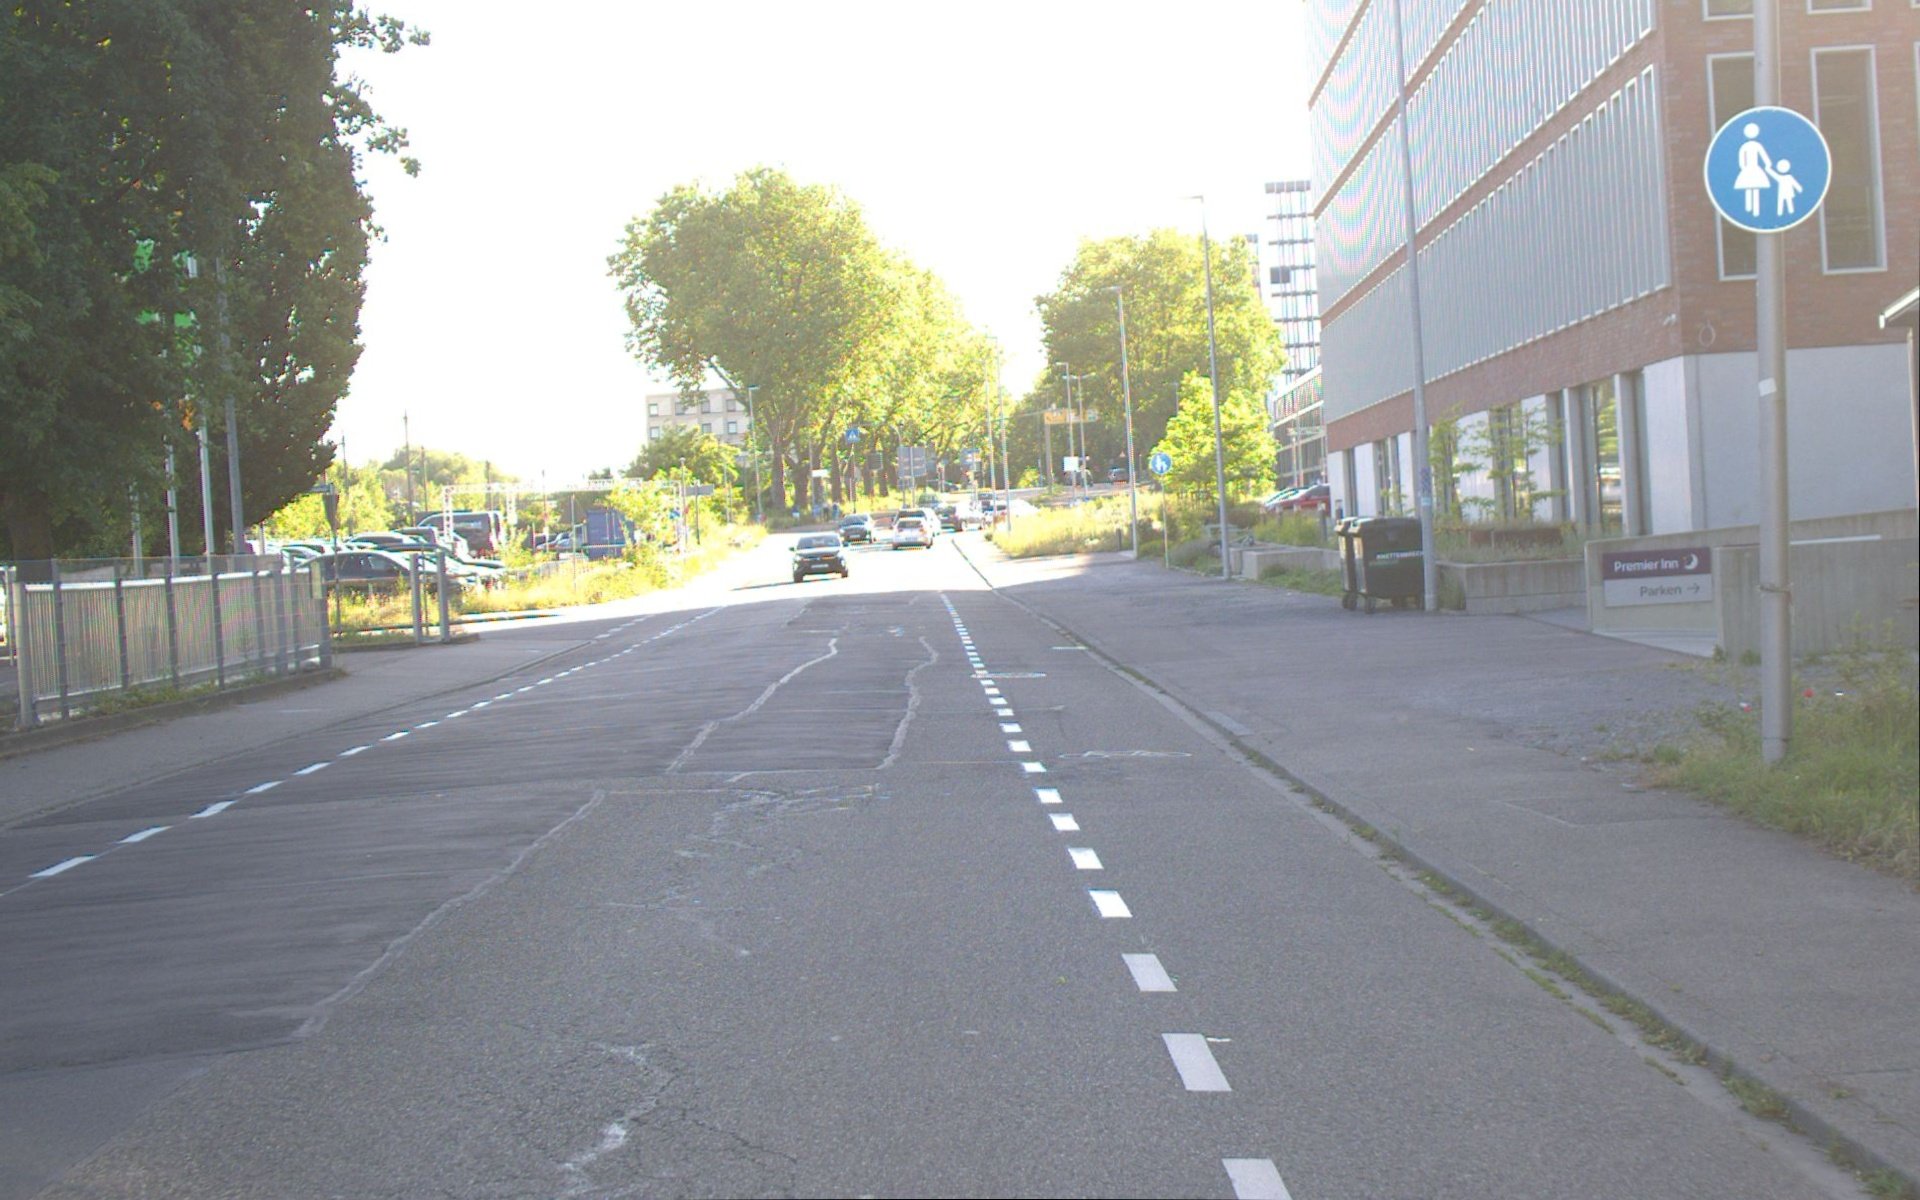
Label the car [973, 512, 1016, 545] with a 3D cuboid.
[{"bbox_3d":[1.933,-4.027,193.961,2.163,1.678,4.000,-3,1,-1],"label":"car"}]

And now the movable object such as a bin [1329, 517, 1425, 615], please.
[{"bbox_3d":[6.011,-0.496,49.654,1.128,1.331,1.345,-3,1,-1],"label":"movable object such as a bin"}]

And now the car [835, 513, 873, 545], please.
[{"bbox_3d":[-5.423,-3.644,176.364,1.654,1.498,4.000,-4,1,1],"label":"car"}]

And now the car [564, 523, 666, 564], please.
[{"bbox_3d":[-17.146,-2.806,170.999,4.845,1.828,2.000,-2,2,-1],"label":"car"}]

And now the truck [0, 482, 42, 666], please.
[{"bbox_3d":[-23.852,-0.324,68.764,10.098,3.602,2.776,-2,1,-1],"label":"truck"}]

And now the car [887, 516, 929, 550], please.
[{"bbox_3d":[-2.383,-3.095,158.047,1.790,1.415,4.000,-2,2,1],"label":"car"}]

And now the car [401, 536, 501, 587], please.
[{"bbox_3d":[-27.304,-2.081,184.429,4.926,2.451,2.320,-3,1,-1],"label":"car"}]

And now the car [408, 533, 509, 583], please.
[{"bbox_3d":[-27.260,-2.303,187.126,5.096,2.451,2.320,-2,2,-1],"label":"car"}]

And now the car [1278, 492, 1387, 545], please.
[{"bbox_3d":[14.961,-3.273,138.132,4.185,1.576,1.851,-4,-7,3],"label":"car"}]

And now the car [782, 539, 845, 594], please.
[{"bbox_3d":[-4.681,-1.095,110.575,1.741,1.520,4.112,-7,2,0],"label":"car"}]

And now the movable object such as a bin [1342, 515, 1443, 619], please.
[{"bbox_3d":[6.036,-0.477,48.048,1.128,1.367,1.345,-3,1,-1],"label":"movable object such as a bin"}]

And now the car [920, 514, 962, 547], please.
[{"bbox_3d":[-1.025,-3.816,188.769,2.163,1.678,4.000,-3,1,1],"label":"car"}]

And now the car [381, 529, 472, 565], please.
[{"bbox_3d":[-27.423,-2.725,176.813,4.321,1.612,1.878,-2,2,-1],"label":"car"}]
